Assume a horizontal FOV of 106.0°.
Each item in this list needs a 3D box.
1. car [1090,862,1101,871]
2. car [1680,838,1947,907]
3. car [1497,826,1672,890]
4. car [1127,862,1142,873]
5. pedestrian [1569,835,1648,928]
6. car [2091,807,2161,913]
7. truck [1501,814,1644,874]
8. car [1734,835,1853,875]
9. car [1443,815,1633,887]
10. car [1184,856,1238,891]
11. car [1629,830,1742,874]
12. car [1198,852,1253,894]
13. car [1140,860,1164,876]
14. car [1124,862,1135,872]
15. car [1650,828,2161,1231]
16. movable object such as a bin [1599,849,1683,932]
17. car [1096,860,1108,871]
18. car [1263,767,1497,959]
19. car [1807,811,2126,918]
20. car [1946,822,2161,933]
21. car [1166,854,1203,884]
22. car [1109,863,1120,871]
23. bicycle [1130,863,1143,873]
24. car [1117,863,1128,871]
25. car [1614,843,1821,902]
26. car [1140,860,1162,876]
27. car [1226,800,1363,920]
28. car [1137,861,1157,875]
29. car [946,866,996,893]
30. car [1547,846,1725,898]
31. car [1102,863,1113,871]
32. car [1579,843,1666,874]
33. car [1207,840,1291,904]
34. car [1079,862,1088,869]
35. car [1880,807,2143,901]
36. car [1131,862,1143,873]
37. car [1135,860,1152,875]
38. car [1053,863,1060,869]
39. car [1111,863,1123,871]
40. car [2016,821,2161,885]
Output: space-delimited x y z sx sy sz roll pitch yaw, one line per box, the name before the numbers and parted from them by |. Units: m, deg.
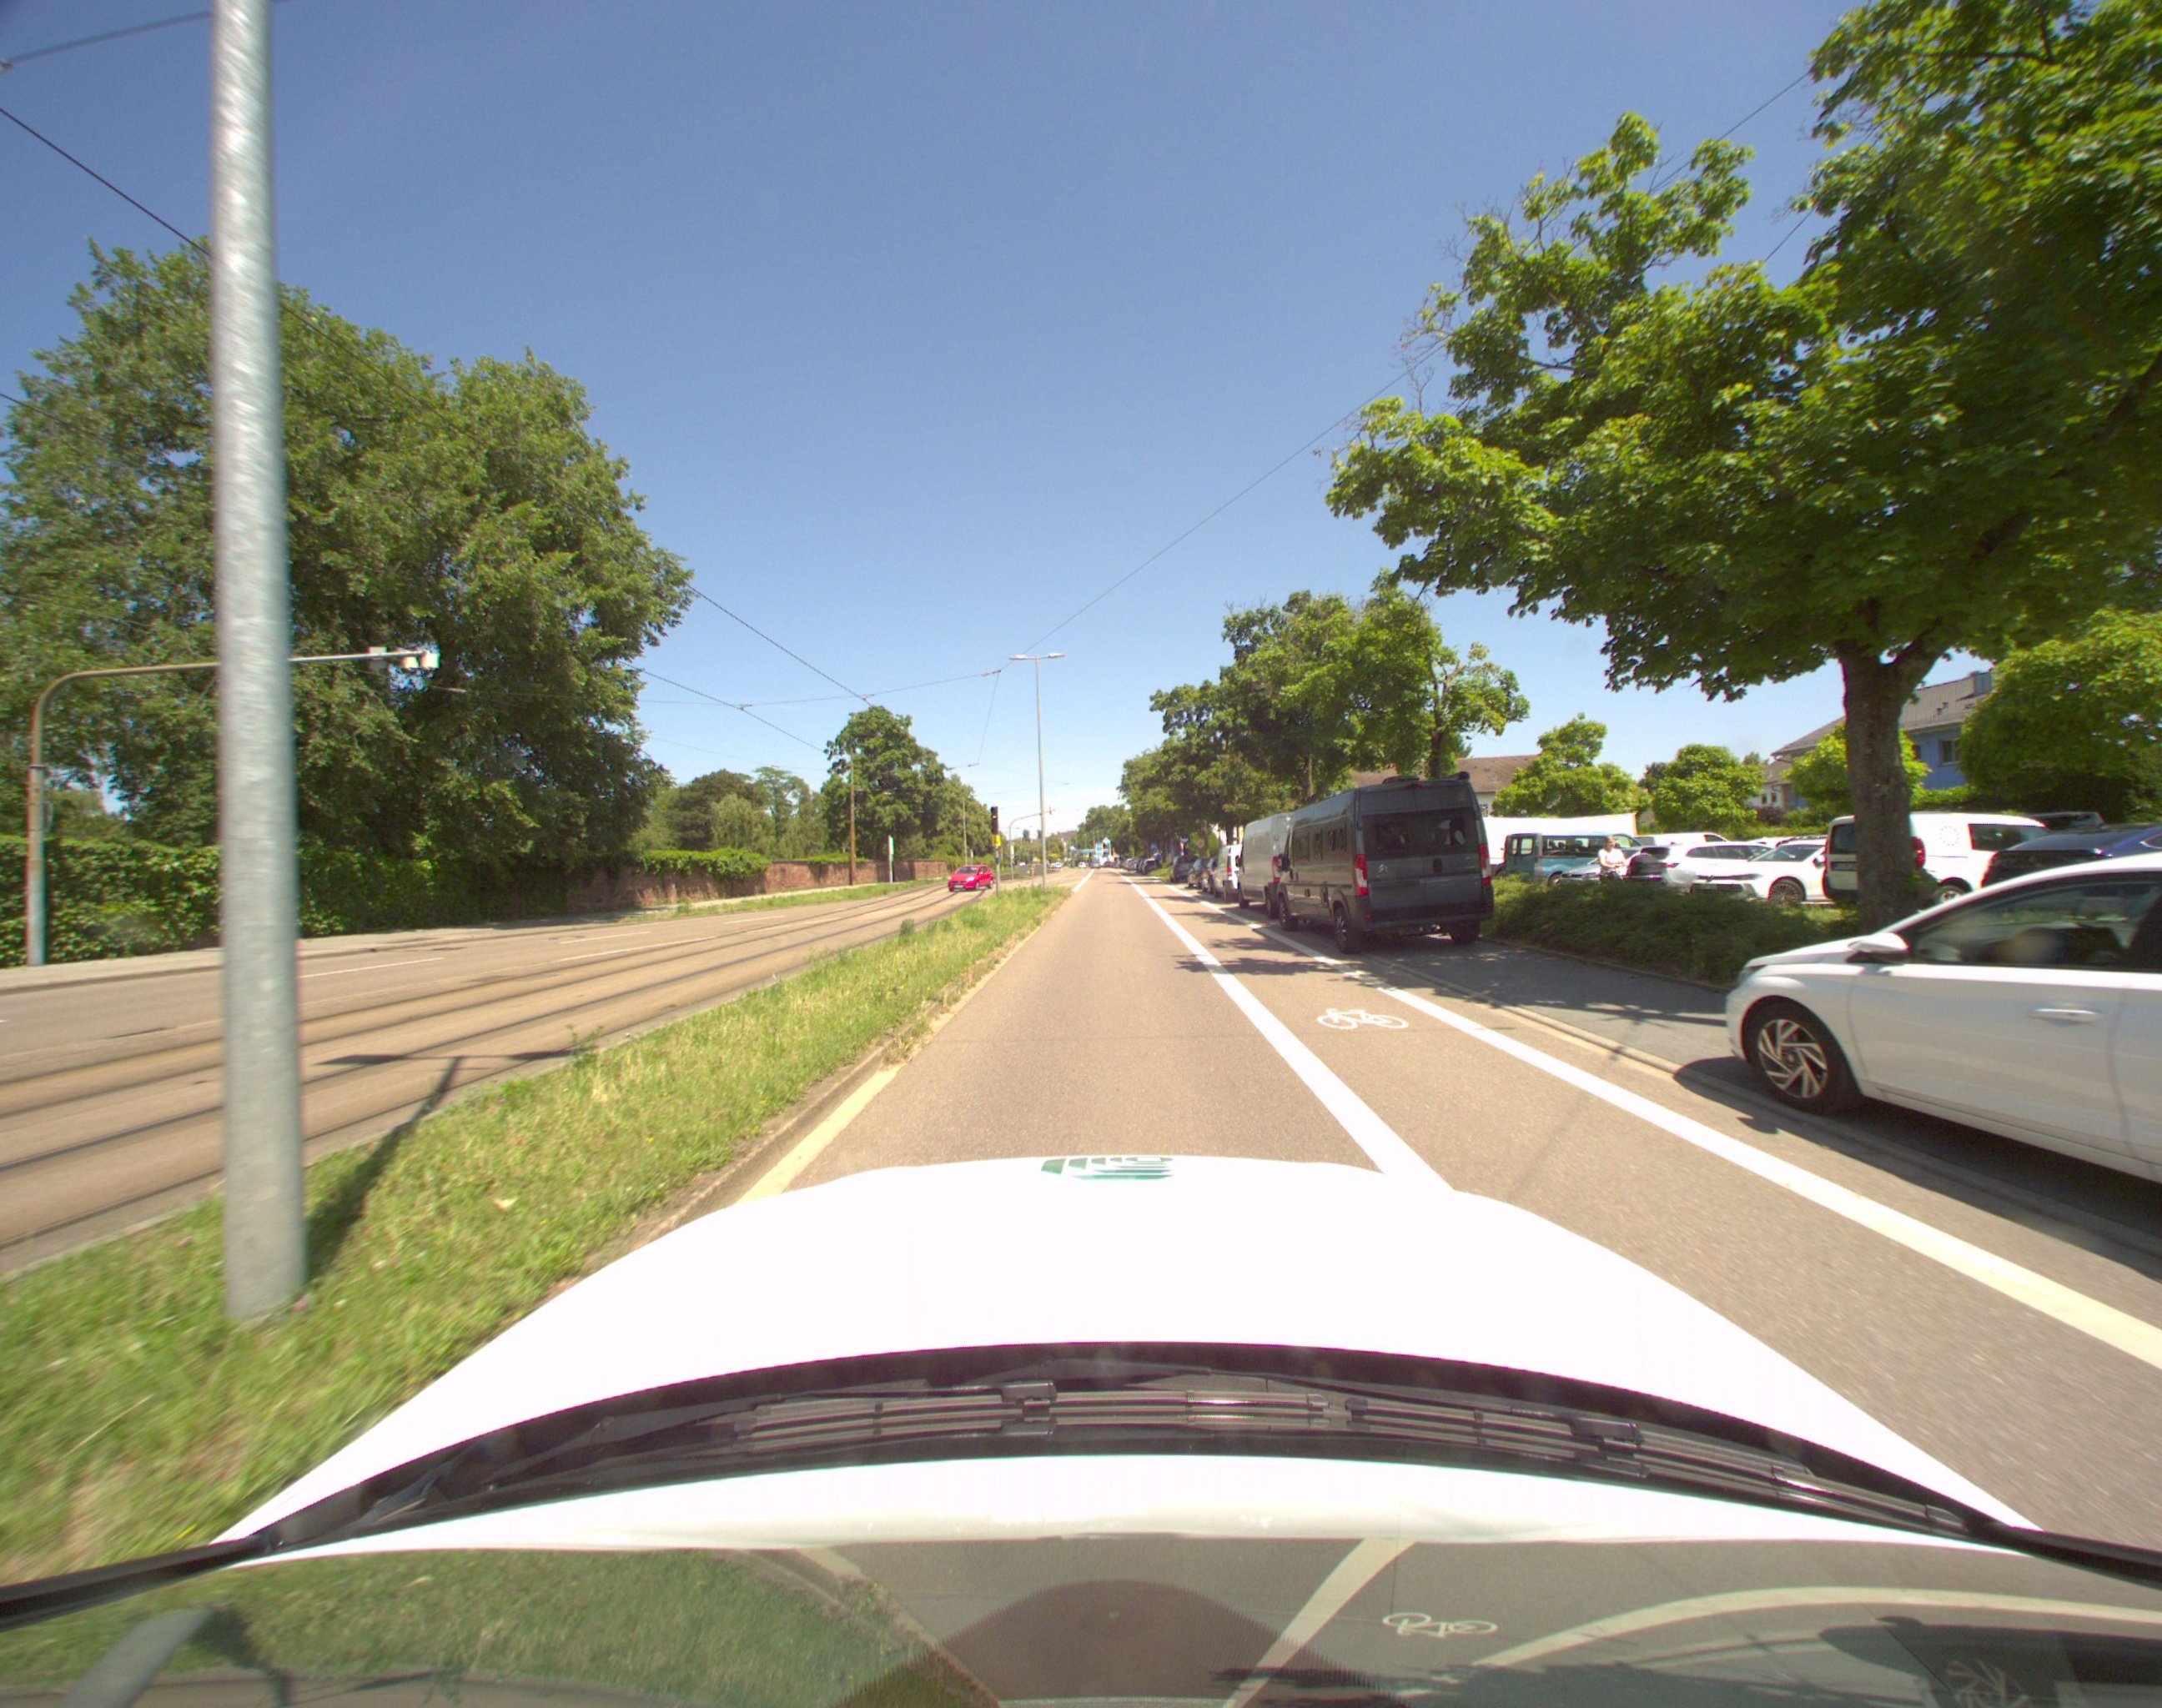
car | 2.955 2.593 167.611 1.752 1.630 4.317 -4 -1 -4
car | 15.626 0.397 17.523 4.264 1.406 1.727 0 -1 -1
car | 15.780 0.140 25.672 4.396 1.909 1.952 0 -1 -3
car | 8.348 2.133 127.256 1.836 1.529 4.963 -4 -1 -1
pedestrian | 9.682 0.494 14.993 0.802 1.625 0.943 -2 -1 1
car | 27.896 -0.012 19.135 5.469 2.459 2.096 -4 -1 2
truck | 29.319 -0.598 48.781 6.924 3.085 2.424 -3 -1 0
car | 29.320 0.044 33.574 3.320 1.428 1.683 -4 -1 3
car | 15.925 -0.093 28.612 5.469 2.459 2.096 0 -1 2
car | 6.165 0.901 39.126 1.707 1.418 4.707 -4 -1 0
car | 28.490 -0.078 38.466 3.989 1.807 1.752 -3 -1 -2
car | 6.010 0.785 34.226 1.705 1.541 3.843 -4 -1 3
car | 7.179 1.405 82.736 1.835 1.436 4.822 -4 -1 -1
car | 8.855 2.288 148.417 1.834 1.694 4.780 -4 -1 2
car | 4.839 0.632 3.603 1.716 1.428 4.210 -4 -1 2
movable object such as a bin | 9.650 0.613 14.067 0.789 1.352 0.889 -2 -1 1
car | 5.192 2.849 202.517 2.000 2.457 6.090 -4 -1 -9
car | 5.021 0.155 14.881 1.990 2.636 6.080 -4 -1 1
car | 15.759 0.192 14.650 3.770 1.784 1.952 0 -1 -3
car | 15.968 0.332 12.051 4.394 1.505 1.953 0 -1 -2
car | 6.469 0.940 51.104 1.706 1.632 4.709 -4 -1 1
car | 7.476 2.870 182.389 1.705 1.562 4.314 -4 -1 -6
bicycle | 8.248 2.096 120.209 1.765 1.228 0.684 -7 -2 5
car | 8.453 2.596 165.279 1.703 1.492 5.033 -4 -1 -3
car | 15.824 0.444 20.379 3.875 1.406 1.727 0 -1 -1
car | 7.655 1.536 89.130 1.836 1.529 4.203 -4 -1 -1
car | 5.460 0.164 21.814 1.990 2.636 6.144 -4 -1 1
car | 7.640 1.611 94.698 1.835 1.529 4.351 -4 -1 -1
car | -6.365 1.469 47.587 1.696 1.414 4.292 -2 -1 9
car | 15.436 0.497 22.776 3.878 1.406 1.725 0 -1 -4
car | 6.329 3.021 192.380 1.755 1.630 4.312 -4 -1 -8
car | 28.977 0.254 43.655 3.450 1.428 1.683 -4 -1 3
car | 5.751 0.591 28.506 1.989 1.878 5.280 -4 -1 3
car | 0.740 2.874 210.299 1.754 1.630 4.314 -4 -1 -6
car | 28.498 0.007 25.095 5.469 2.459 2.096 -4 -1 2
car | 8.451 2.052 122.246 1.513 1.529 3.817 -4 -1 1
car | 7.694 1.631 100.336 1.833 1.706 4.629 -4 -1 3
car | -7.989 3.969 261.638 1.755 1.875 4.312 -4 -1 -8
car | 7.854 2.767 176.468 1.706 1.562 4.311 -4 -1 -8
car | 28.542 -0.036 22.487 3.320 1.546 1.683 -4 -1 3
